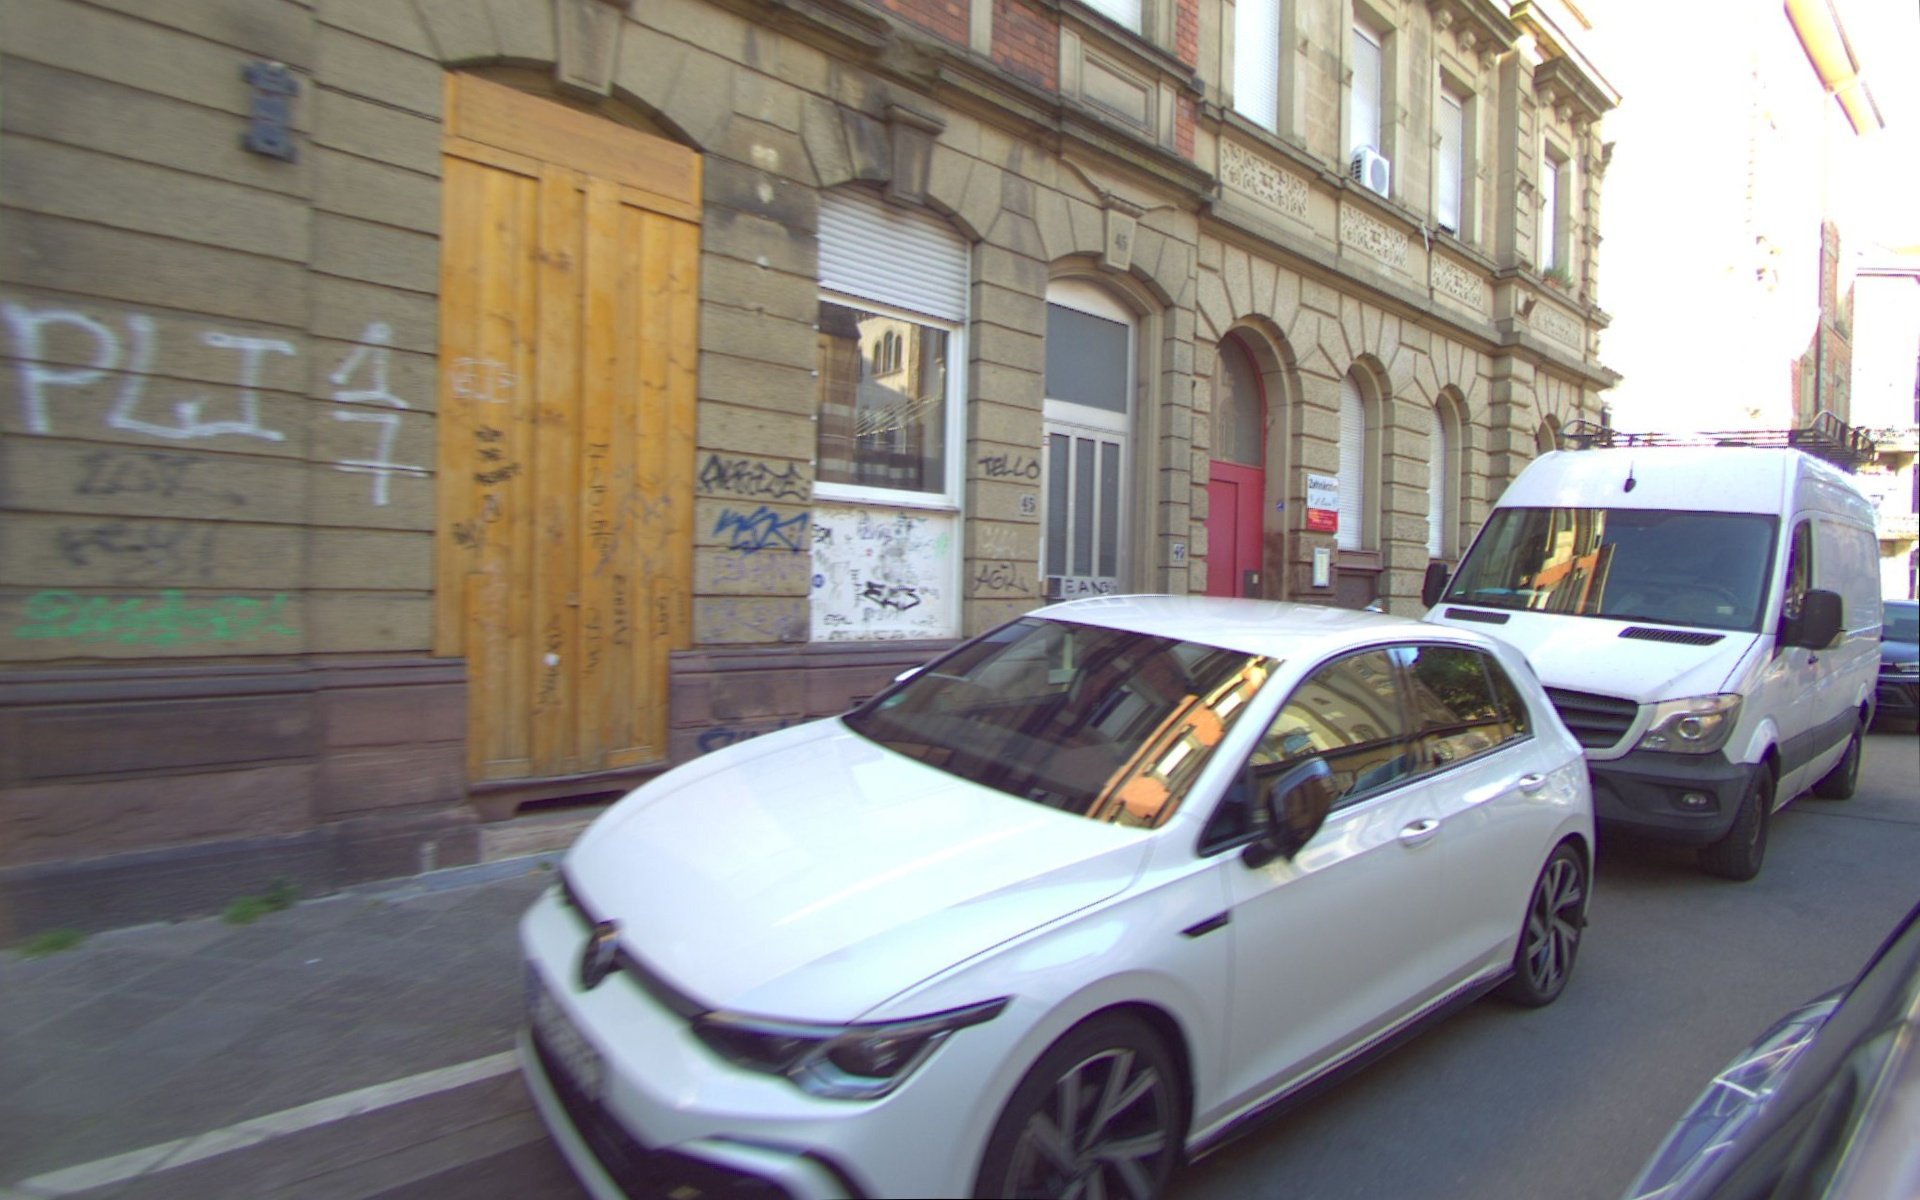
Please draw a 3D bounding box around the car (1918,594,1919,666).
[{"bbox_3d":[23.955,0.707,23.809,3.894,1.645,1.695,0,0,-41],"label":"car"}]

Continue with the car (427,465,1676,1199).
[{"bbox_3d":[0.770,0.614,3.684,4.484,1.667,1.997,-1,0,-41],"label":"car"}]

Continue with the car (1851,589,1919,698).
[{"bbox_3d":[16.062,0.667,16.581,3.894,1.645,1.695,0,0,-41],"label":"car"}]

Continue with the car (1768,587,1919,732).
[{"bbox_3d":[11.999,0.675,13.152,3.746,1.645,1.695,0,0,-41],"label":"car"}]

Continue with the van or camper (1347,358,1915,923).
[{"bbox_3d":[5.276,0.157,7.468,5.875,2.665,1.997,-1,0,-41],"label":"van or camper"}]
